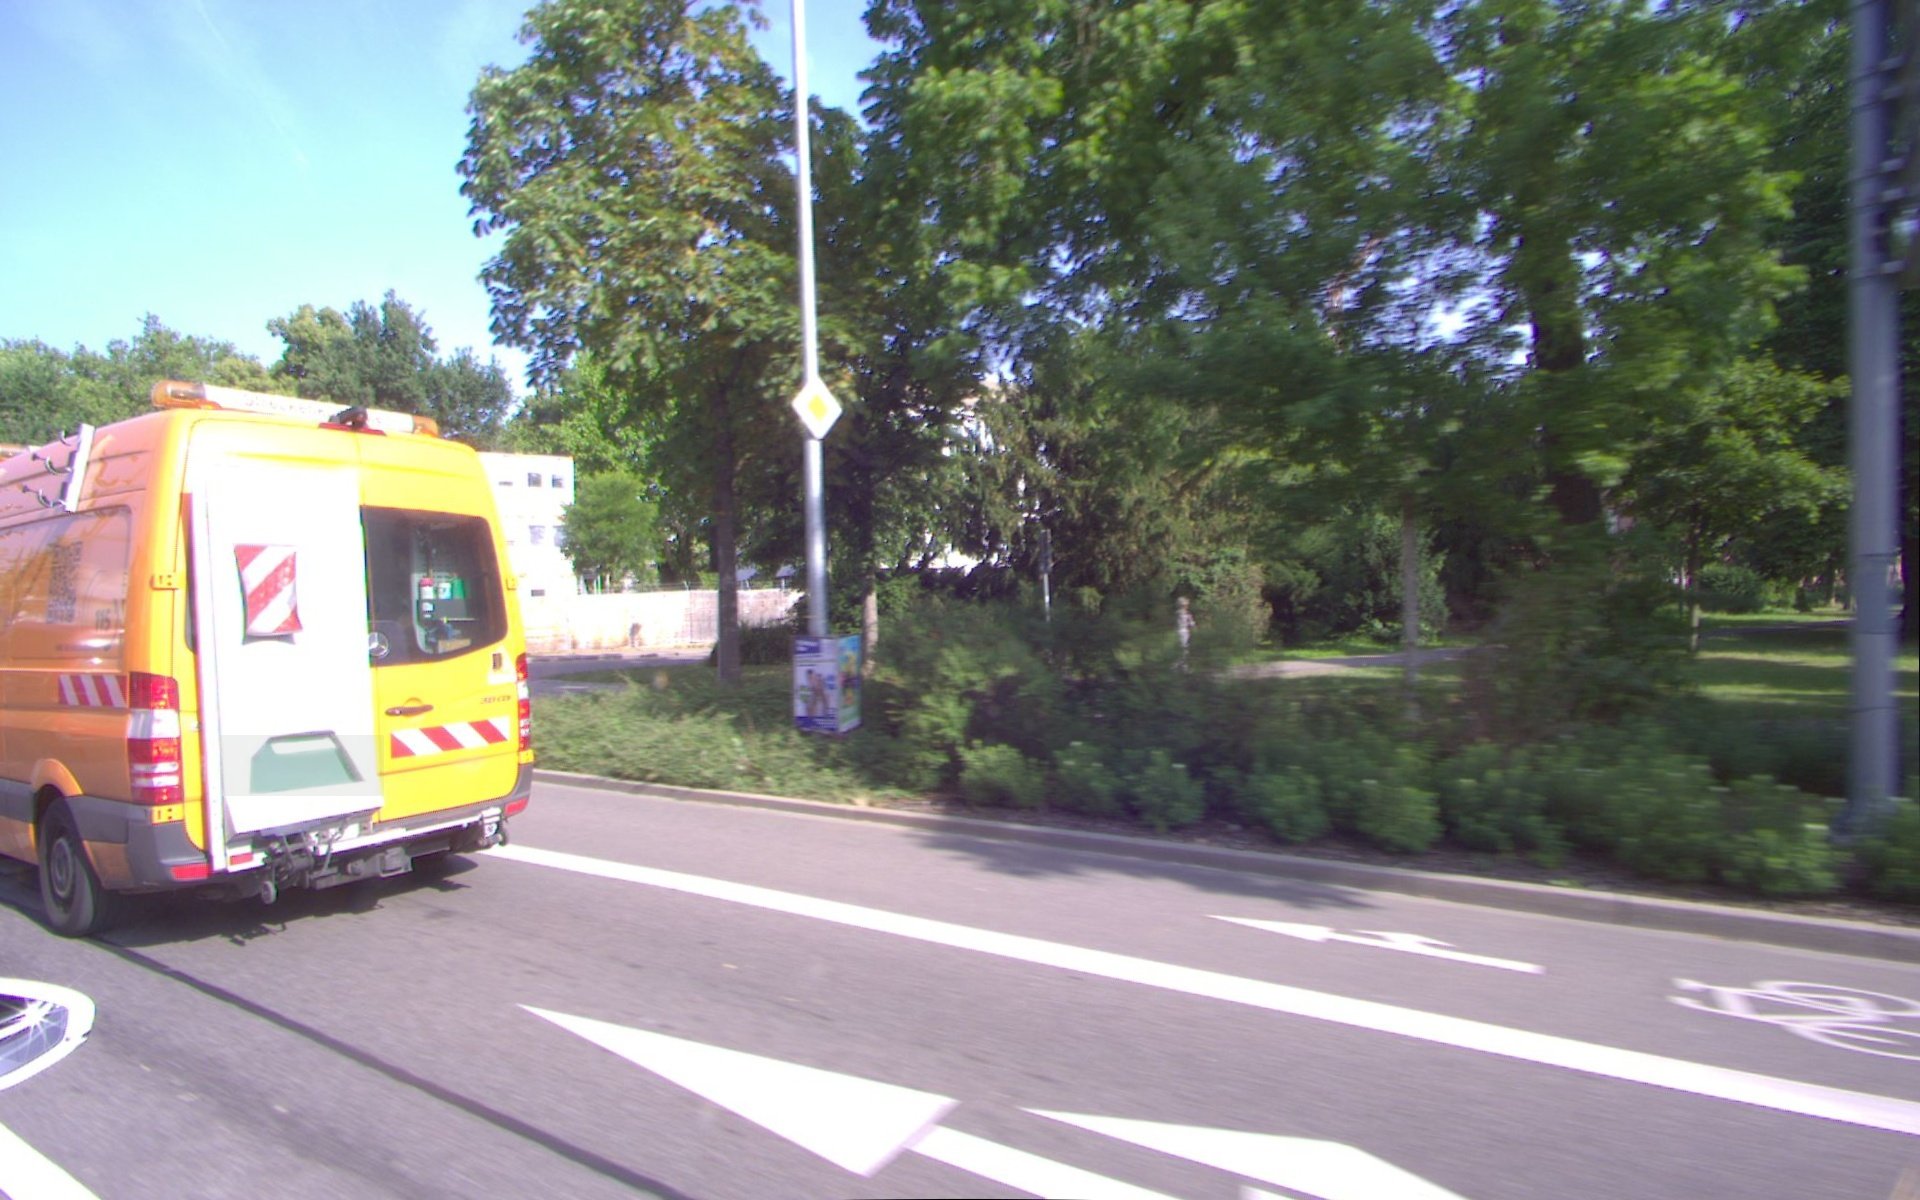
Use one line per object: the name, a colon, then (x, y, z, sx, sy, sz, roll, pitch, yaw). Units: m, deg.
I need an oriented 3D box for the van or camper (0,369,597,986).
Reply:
van or camper: (-5.124, 0.368, 6.545, 5.976, 2.504, 1.982, -1, -1, 33)

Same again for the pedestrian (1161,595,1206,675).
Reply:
pedestrian: (4.423, 0.683, 19.808, 0.659, 1.538, 0.532, -1, 1, -26)
